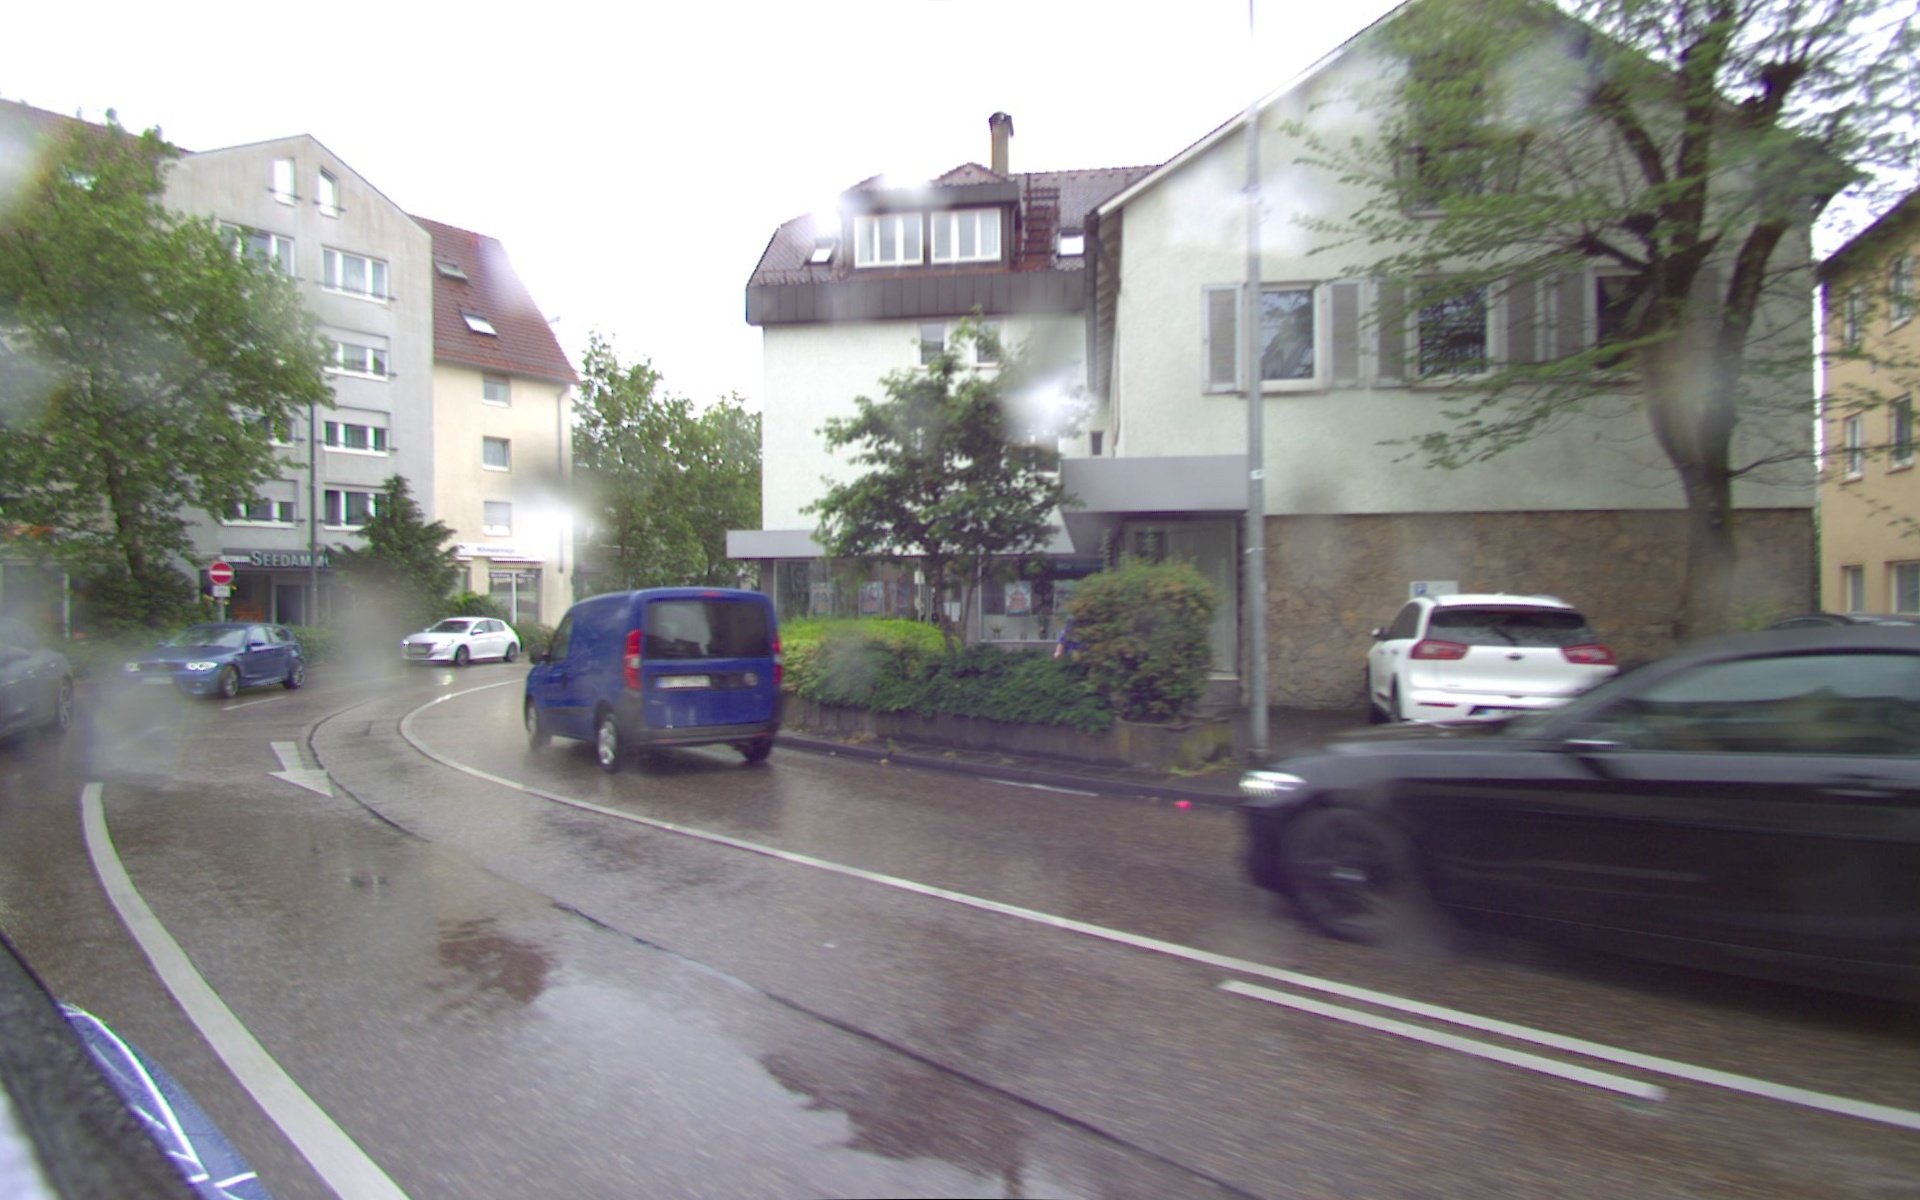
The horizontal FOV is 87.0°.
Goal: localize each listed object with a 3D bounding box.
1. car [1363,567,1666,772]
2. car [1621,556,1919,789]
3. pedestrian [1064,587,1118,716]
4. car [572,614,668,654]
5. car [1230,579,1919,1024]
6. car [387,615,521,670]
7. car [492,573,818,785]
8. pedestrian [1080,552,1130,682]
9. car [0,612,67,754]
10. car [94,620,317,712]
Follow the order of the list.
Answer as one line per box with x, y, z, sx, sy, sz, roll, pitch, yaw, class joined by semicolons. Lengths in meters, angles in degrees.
5.243;0.584;10.138;1.984;1.641;3.623;-1;-1;18;car
7.274;0.597;8.029;1.878;1.465;3.988;0;-4;9;car
1.781;0.690;13.833;0.609;1.684;0.862;-1;-1;2;pedestrian
-13.887;1.369;41.627;1.980;1.464;3.984;-1;0;12;car
3.464;0.666;4.034;4.261;1.398;1.841;-2;-3;42;car
-15.643;1.272;31.525;1.794;1.577;3.989;-1;-1;9;car
-3.605;0.766;11.392;1.968;1.896;4.386;3;-2;-39;car
2.095;0.247;14.690;0.609;1.833;0.673;-1;-1;2;pedestrian
-10.992;0.879;10.192;1.965;1.504;4.327;0;-1;-27;car
-14.777;1.202;20.161;1.746;1.544;4.387;-1;0;-10;car
